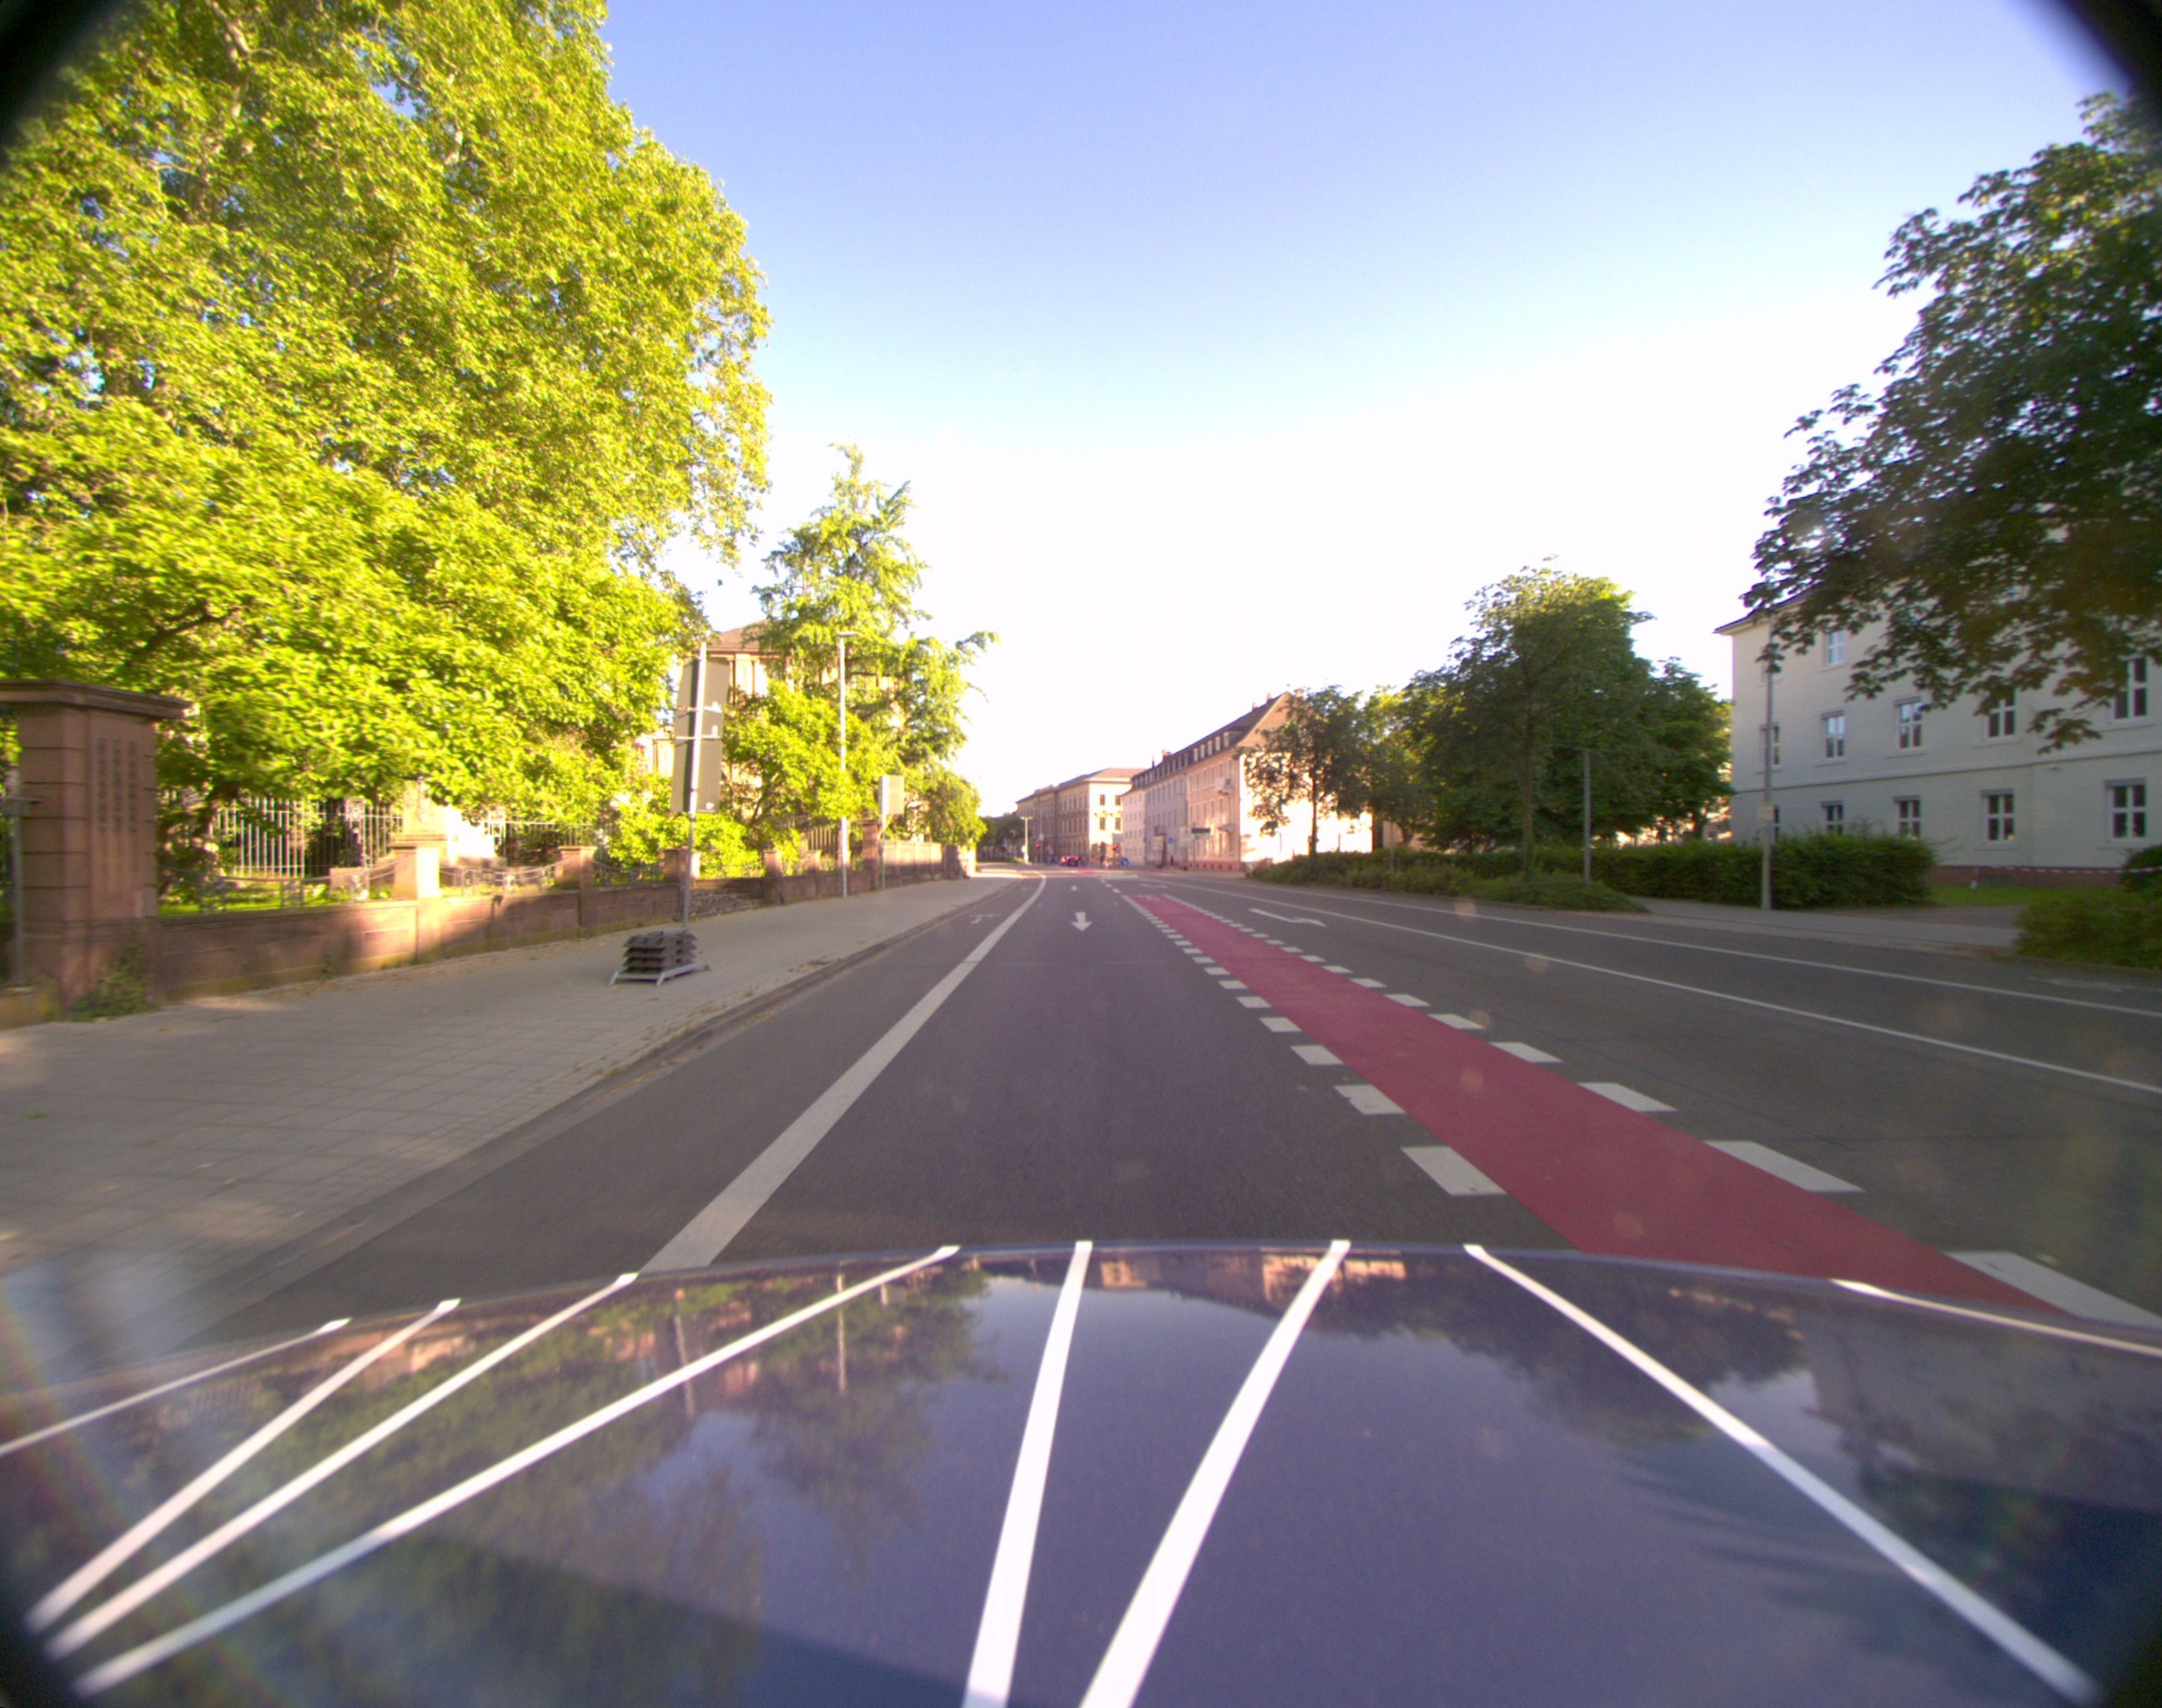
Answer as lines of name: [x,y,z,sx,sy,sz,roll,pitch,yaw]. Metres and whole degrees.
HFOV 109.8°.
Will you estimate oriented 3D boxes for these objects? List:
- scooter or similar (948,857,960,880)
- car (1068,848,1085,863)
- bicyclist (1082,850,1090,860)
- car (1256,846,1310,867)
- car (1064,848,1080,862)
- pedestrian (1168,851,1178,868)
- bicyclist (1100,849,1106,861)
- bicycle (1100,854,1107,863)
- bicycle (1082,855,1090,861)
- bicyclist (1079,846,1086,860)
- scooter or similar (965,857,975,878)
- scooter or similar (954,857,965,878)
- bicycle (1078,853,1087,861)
scooter or similar: [-7.145,0.792,42.688,0.576,1.246,1.486,0,1,-15]
car: [-0.686,0.160,104.186,1.999,2.002,3.998,0,0,-5]
bicyclist: [0.742,0.129,111.925,1.026,1.481,0.870,0,1,-9]
car: [17.289,0.181,65.189,4.000,1.652,1.998,-2,1,-9]
car: [-1.313,0.136,109.822,1.999,2.002,3.998,0,0,-5]
pedestrian: [11.032,0.649,90.997,0.949,1.894,1.062,-2,1,-7]
bicyclist: [2.918,0.165,98.850,0.691,1.553,0.838,1,1,-3]
bicycle: [2.915,0.627,98.797,0.697,1.152,2.245,1,0,-3]
bicycle: [0.729,0.605,112.055,0.663,0.907,2.861,0,0,-9]
bicyclist: [0.221,-0.157,116.198,0.956,2.002,1.307,0,1,-9]
scooter or similar: [-6.665,0.780,45.618,0.517,1.233,1.521,0,0,-11]
scooter or similar: [-7.146,0.795,44.540,0.576,1.177,1.487,0,0,-7]
bicycle: [0.180,0.470,116.176,0.956,1.216,2.776,0,1,-9]
